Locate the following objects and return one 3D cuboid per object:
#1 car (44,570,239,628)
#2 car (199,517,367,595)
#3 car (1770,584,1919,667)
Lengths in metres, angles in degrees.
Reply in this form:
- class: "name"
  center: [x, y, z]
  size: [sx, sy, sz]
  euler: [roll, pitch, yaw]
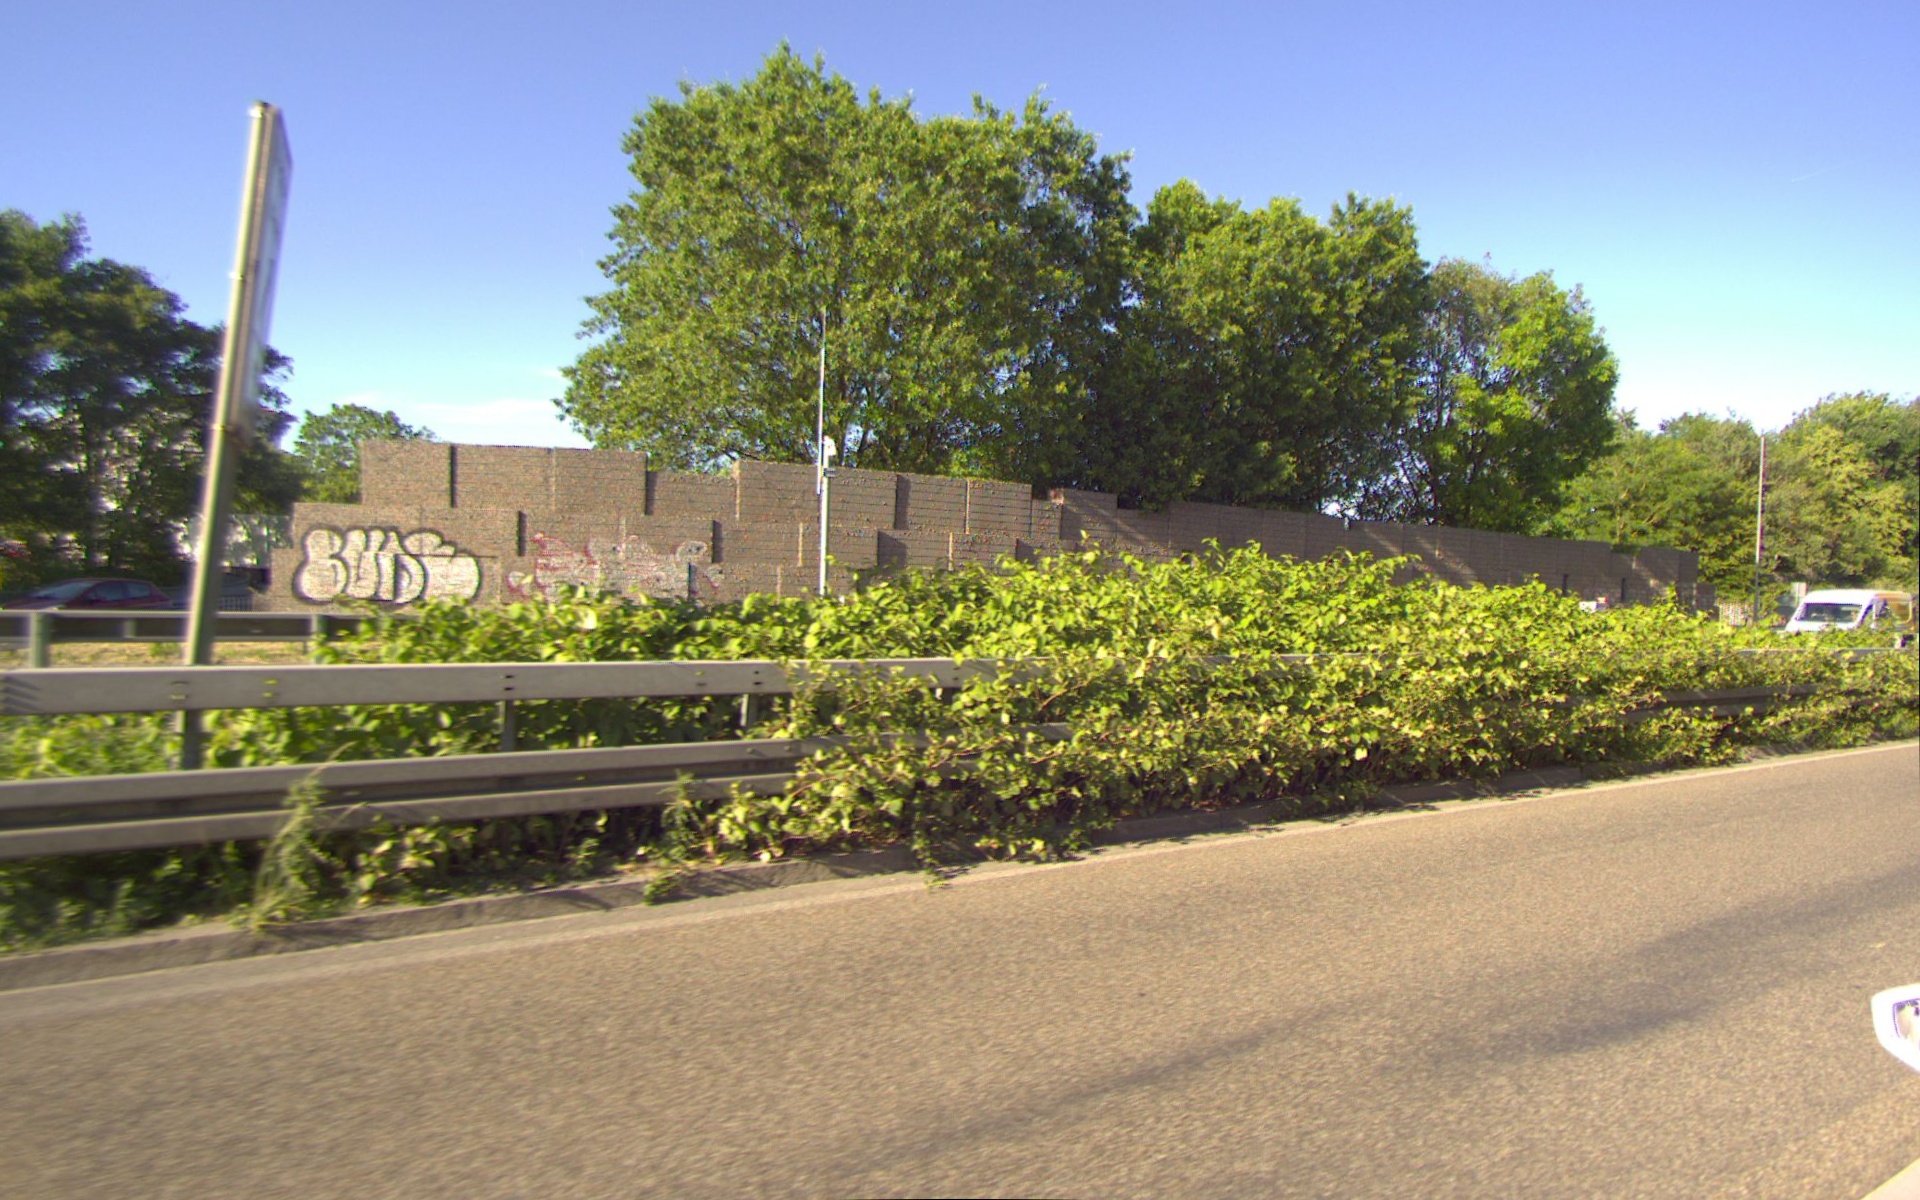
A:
- class: "car"
  center: [-21.809, -0.094, 27.011]
  size: [1.964, 1.352, 4.095]
  euler: [2, 2, -2]
- class: "car"
  center: [-37.689, -2.532, 55.675]
  size: [12.499, 3.983, 2.459]
  euler: [3, 3, 30]
- class: "car"
  center: [31.064, 0.826, 35.193]
  size: [5.981, 2.646, 2.136]
  euler: [0, 3, -31]
